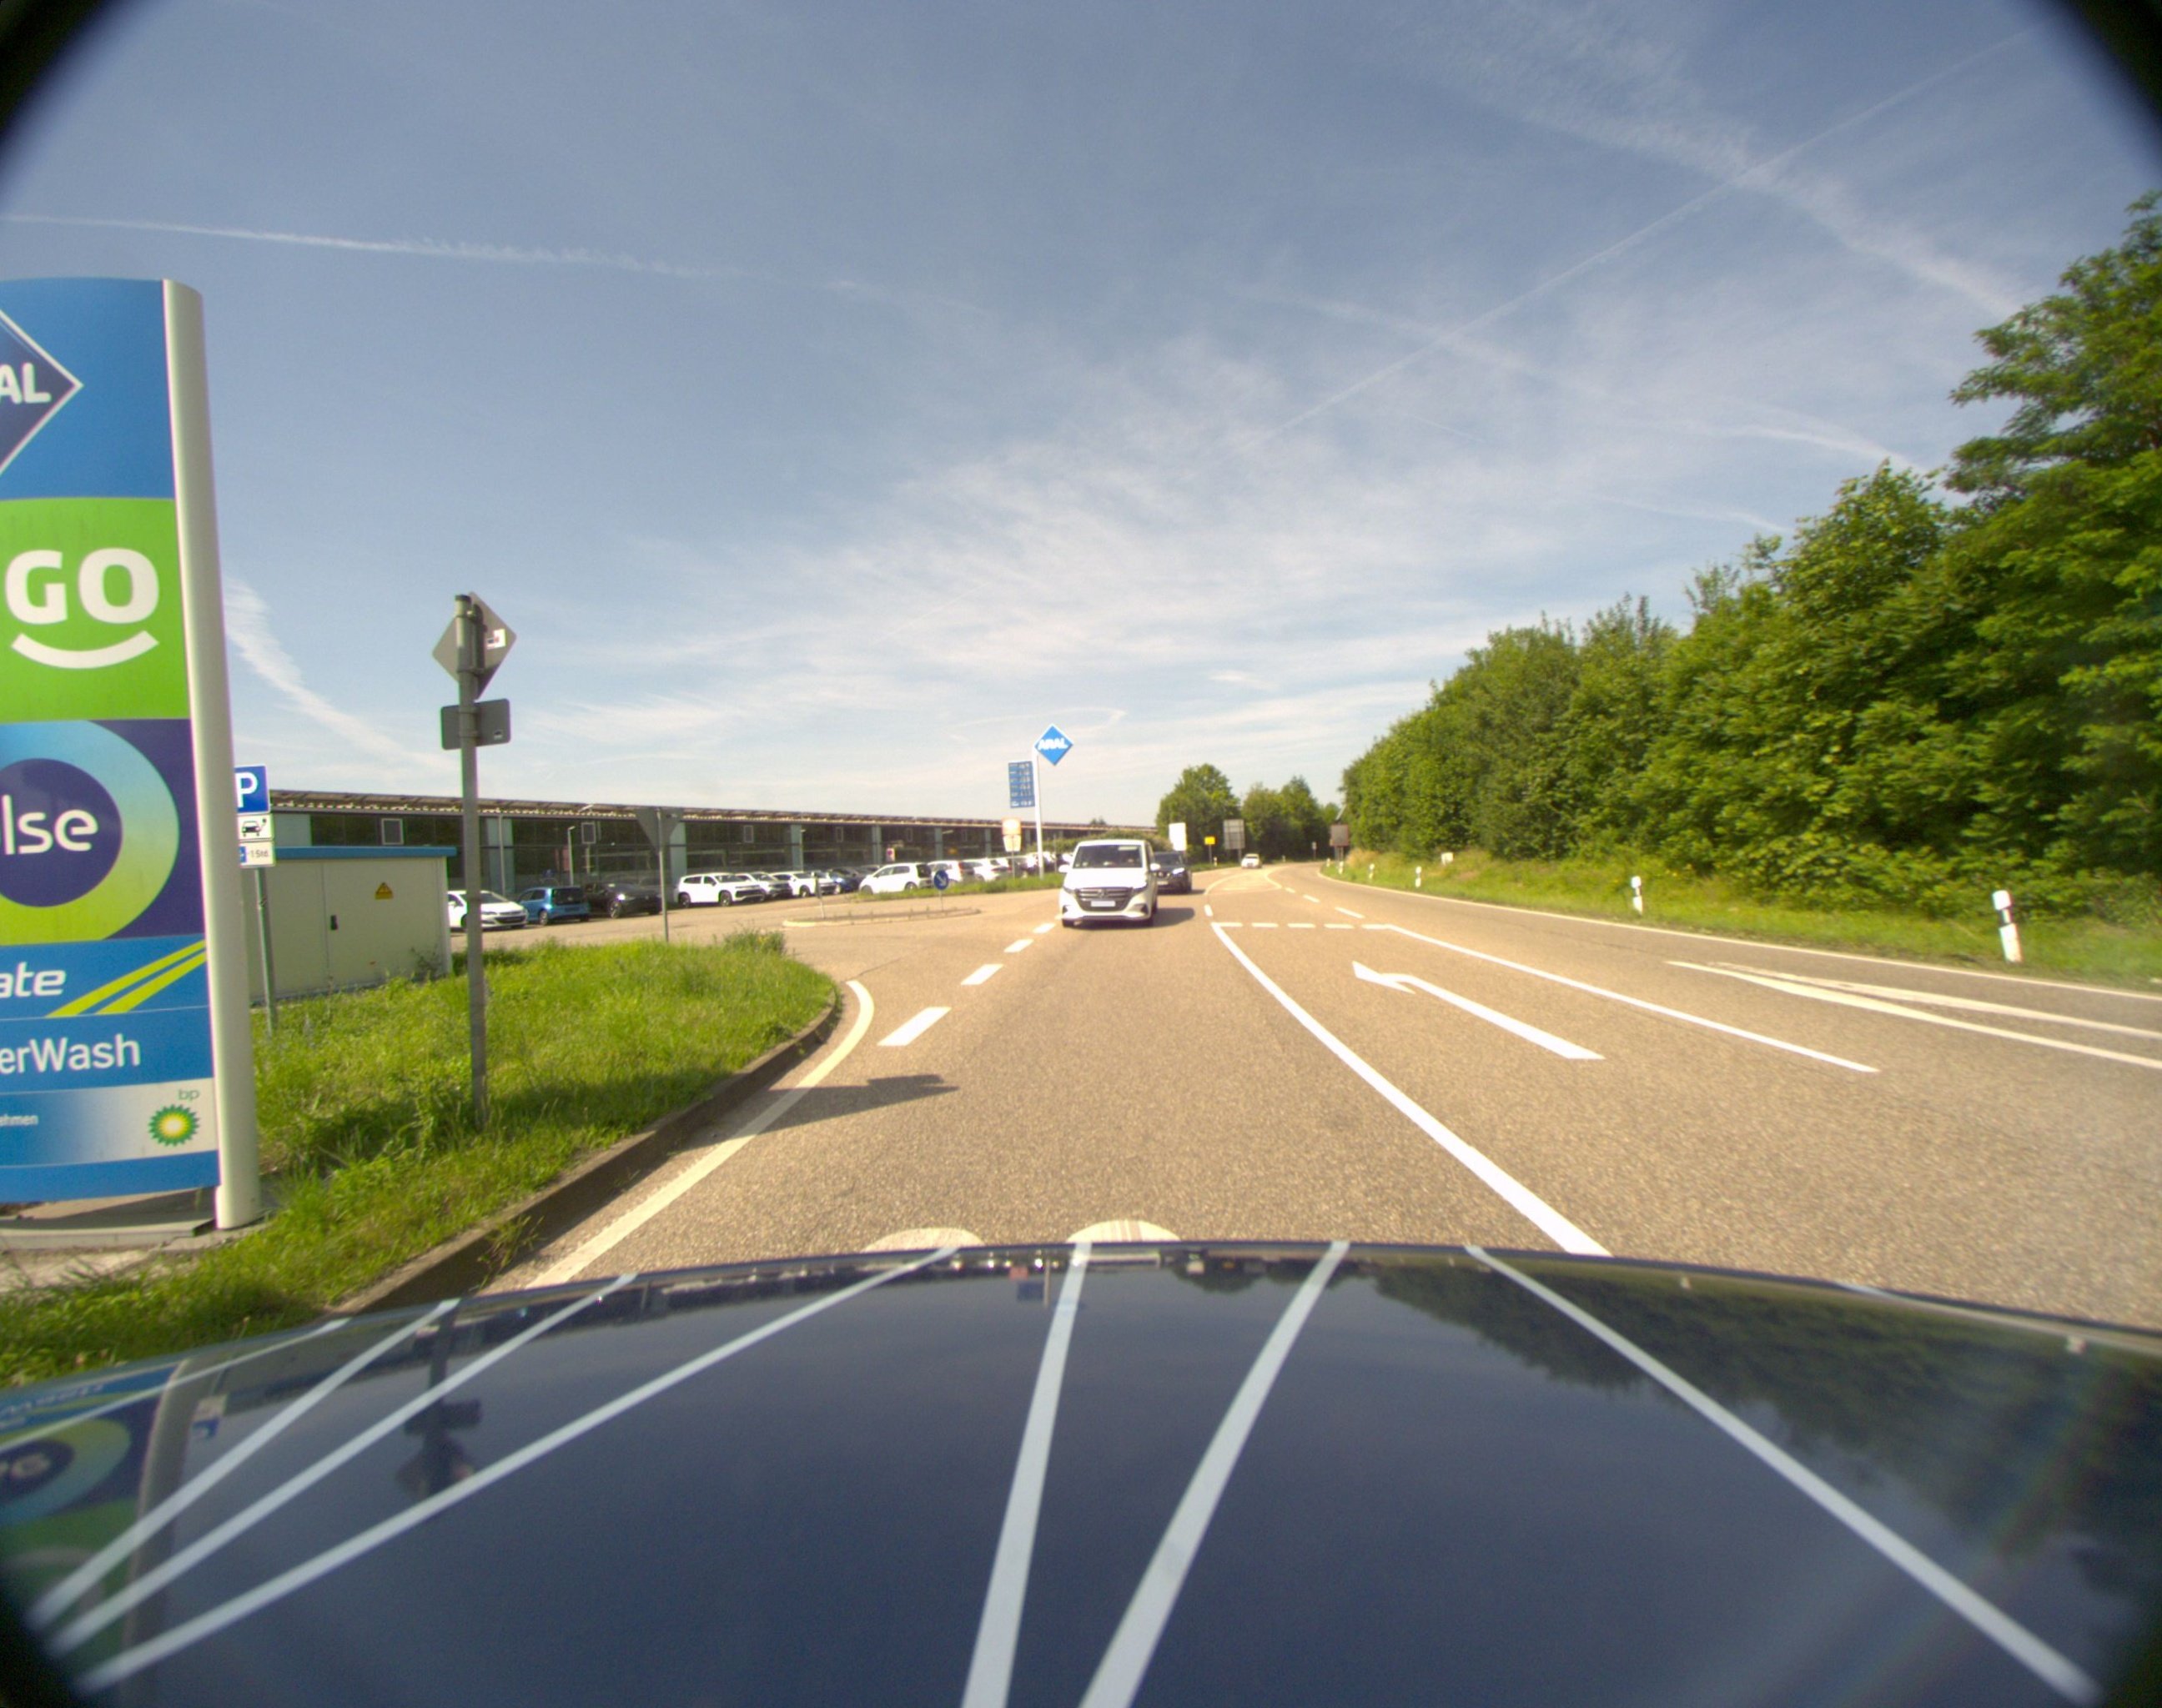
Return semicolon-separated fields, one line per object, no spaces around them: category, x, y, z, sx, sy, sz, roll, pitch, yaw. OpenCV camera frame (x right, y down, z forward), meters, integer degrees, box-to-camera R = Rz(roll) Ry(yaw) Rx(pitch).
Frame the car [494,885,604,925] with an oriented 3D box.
car;-21.146;2.024;30.203;4.036;1.449;1.826;-2;-1;26

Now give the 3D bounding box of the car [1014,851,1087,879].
car;-1.954;0.737;48.535;4.249;1.628;1.825;-2;-1;20

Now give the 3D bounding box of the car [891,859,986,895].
car;-7.063;1.151;37.689;4.249;1.628;1.825;-2;-1;20

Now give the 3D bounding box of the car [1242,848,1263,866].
car;17.561;0.269;77.657;1.865;1.632;4.426;-2;0;15

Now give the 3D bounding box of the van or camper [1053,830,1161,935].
van or camper;0.788;0.551;17.634;1.997;2.002;5.292;-2;0;7

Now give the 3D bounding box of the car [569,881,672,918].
car;-19.583;1.941;32.303;4.036;1.449;1.826;-2;-1;26

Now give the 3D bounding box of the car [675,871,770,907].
car;-17.581;1.719;37.244;4.455;1.628;1.826;-2;-1;26

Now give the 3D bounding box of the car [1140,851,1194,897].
car;3.186;0.683;28.468;1.820;1.532;3.728;-2;0;5

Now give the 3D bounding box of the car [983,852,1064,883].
car;-3.325;0.799;44.178;4.249;1.628;1.825;-2;-1;20

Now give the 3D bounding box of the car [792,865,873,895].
car;-14.524;1.525;44.353;4.455;1.628;1.826;-2;-1;26

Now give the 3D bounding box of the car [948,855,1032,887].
car;-5.071;0.926;42.256;4.249;1.628;1.825;-2;-1;20

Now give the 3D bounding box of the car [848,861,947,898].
car;-8.715;1.223;36.089;4.249;1.628;1.825;-2;-1;20

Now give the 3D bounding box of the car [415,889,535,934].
car;-21.980;2.071;27.540;4.036;1.449;1.826;-2;-1;26

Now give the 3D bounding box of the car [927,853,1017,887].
car;-5.718;0.848;39.818;4.249;1.628;1.825;-2;-1;20

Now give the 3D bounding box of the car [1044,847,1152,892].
car;0.870;0.658;34.692;1.994;1.820;5.252;-2;1;40

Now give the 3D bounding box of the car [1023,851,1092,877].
car;-1.588;0.697;51.127;4.249;1.628;1.825;-2;-1;20

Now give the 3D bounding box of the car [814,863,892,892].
car;-13.973;1.454;46.463;4.455;1.628;1.826;-2;-1;26

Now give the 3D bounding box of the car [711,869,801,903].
car;-17.016;1.669;39.733;4.455;1.628;1.826;-2;-1;26

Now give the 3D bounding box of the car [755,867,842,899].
car;-15.486;1.588;41.642;4.455;1.628;1.826;-2;-1;26

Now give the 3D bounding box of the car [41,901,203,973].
car;-25.264;2.100;20.006;4.011;1.595;1.893;-2;1;28

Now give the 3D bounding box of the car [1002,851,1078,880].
car;-2.504;0.720;46.481;4.249;1.628;1.825;-2;-1;20
